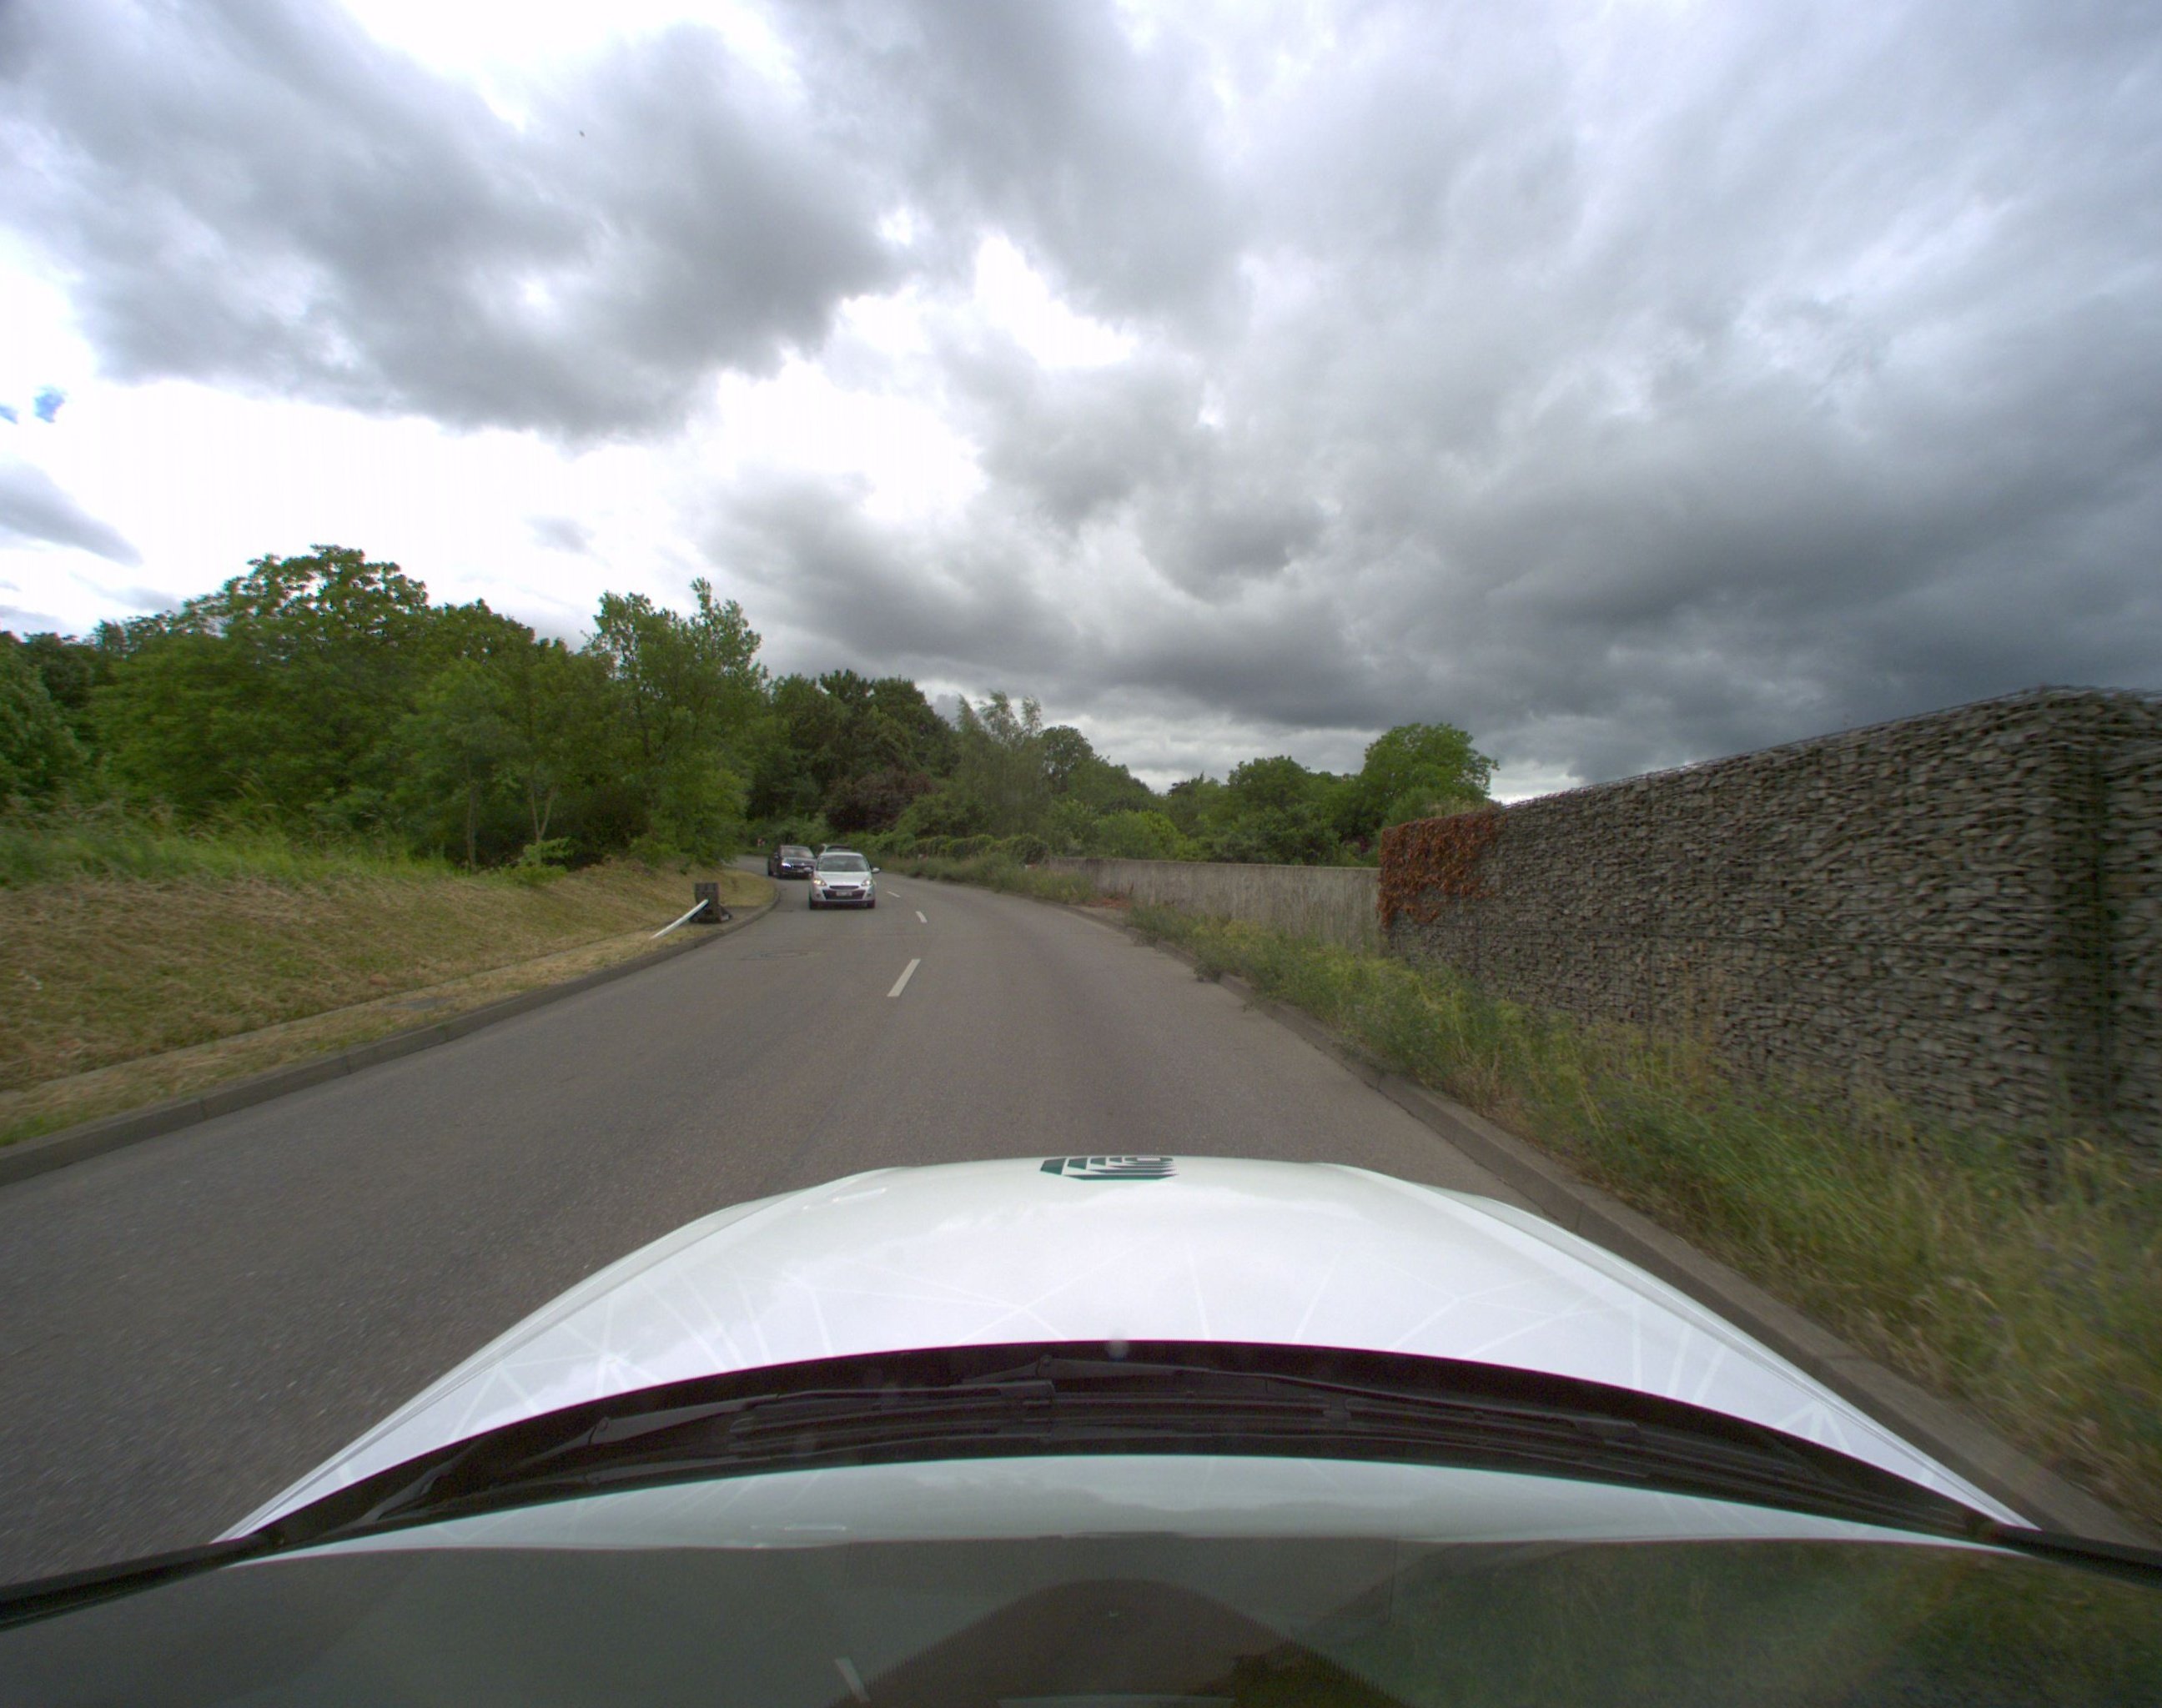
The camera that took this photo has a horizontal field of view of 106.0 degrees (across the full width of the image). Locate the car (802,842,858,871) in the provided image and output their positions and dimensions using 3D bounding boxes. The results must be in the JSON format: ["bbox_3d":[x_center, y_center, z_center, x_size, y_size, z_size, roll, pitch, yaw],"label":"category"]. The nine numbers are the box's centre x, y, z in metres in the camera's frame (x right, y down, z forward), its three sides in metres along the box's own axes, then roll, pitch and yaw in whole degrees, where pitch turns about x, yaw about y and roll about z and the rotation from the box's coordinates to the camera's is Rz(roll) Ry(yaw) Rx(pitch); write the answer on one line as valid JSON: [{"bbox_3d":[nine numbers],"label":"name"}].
[{"bbox_3d":[-13.506,0.126,43.626,1.852,1.483,3.959,-1,0,-33],"label":"car"}]

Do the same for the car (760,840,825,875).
[{"bbox_3d":[-13.114,0.156,36.925,1.749,1.495,4.388,0,-1,-34],"label":"car"}]

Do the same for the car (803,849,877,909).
[{"bbox_3d":[-6.628,0.609,22.489,1.778,1.495,3.892,0,1,-16],"label":"car"}]
